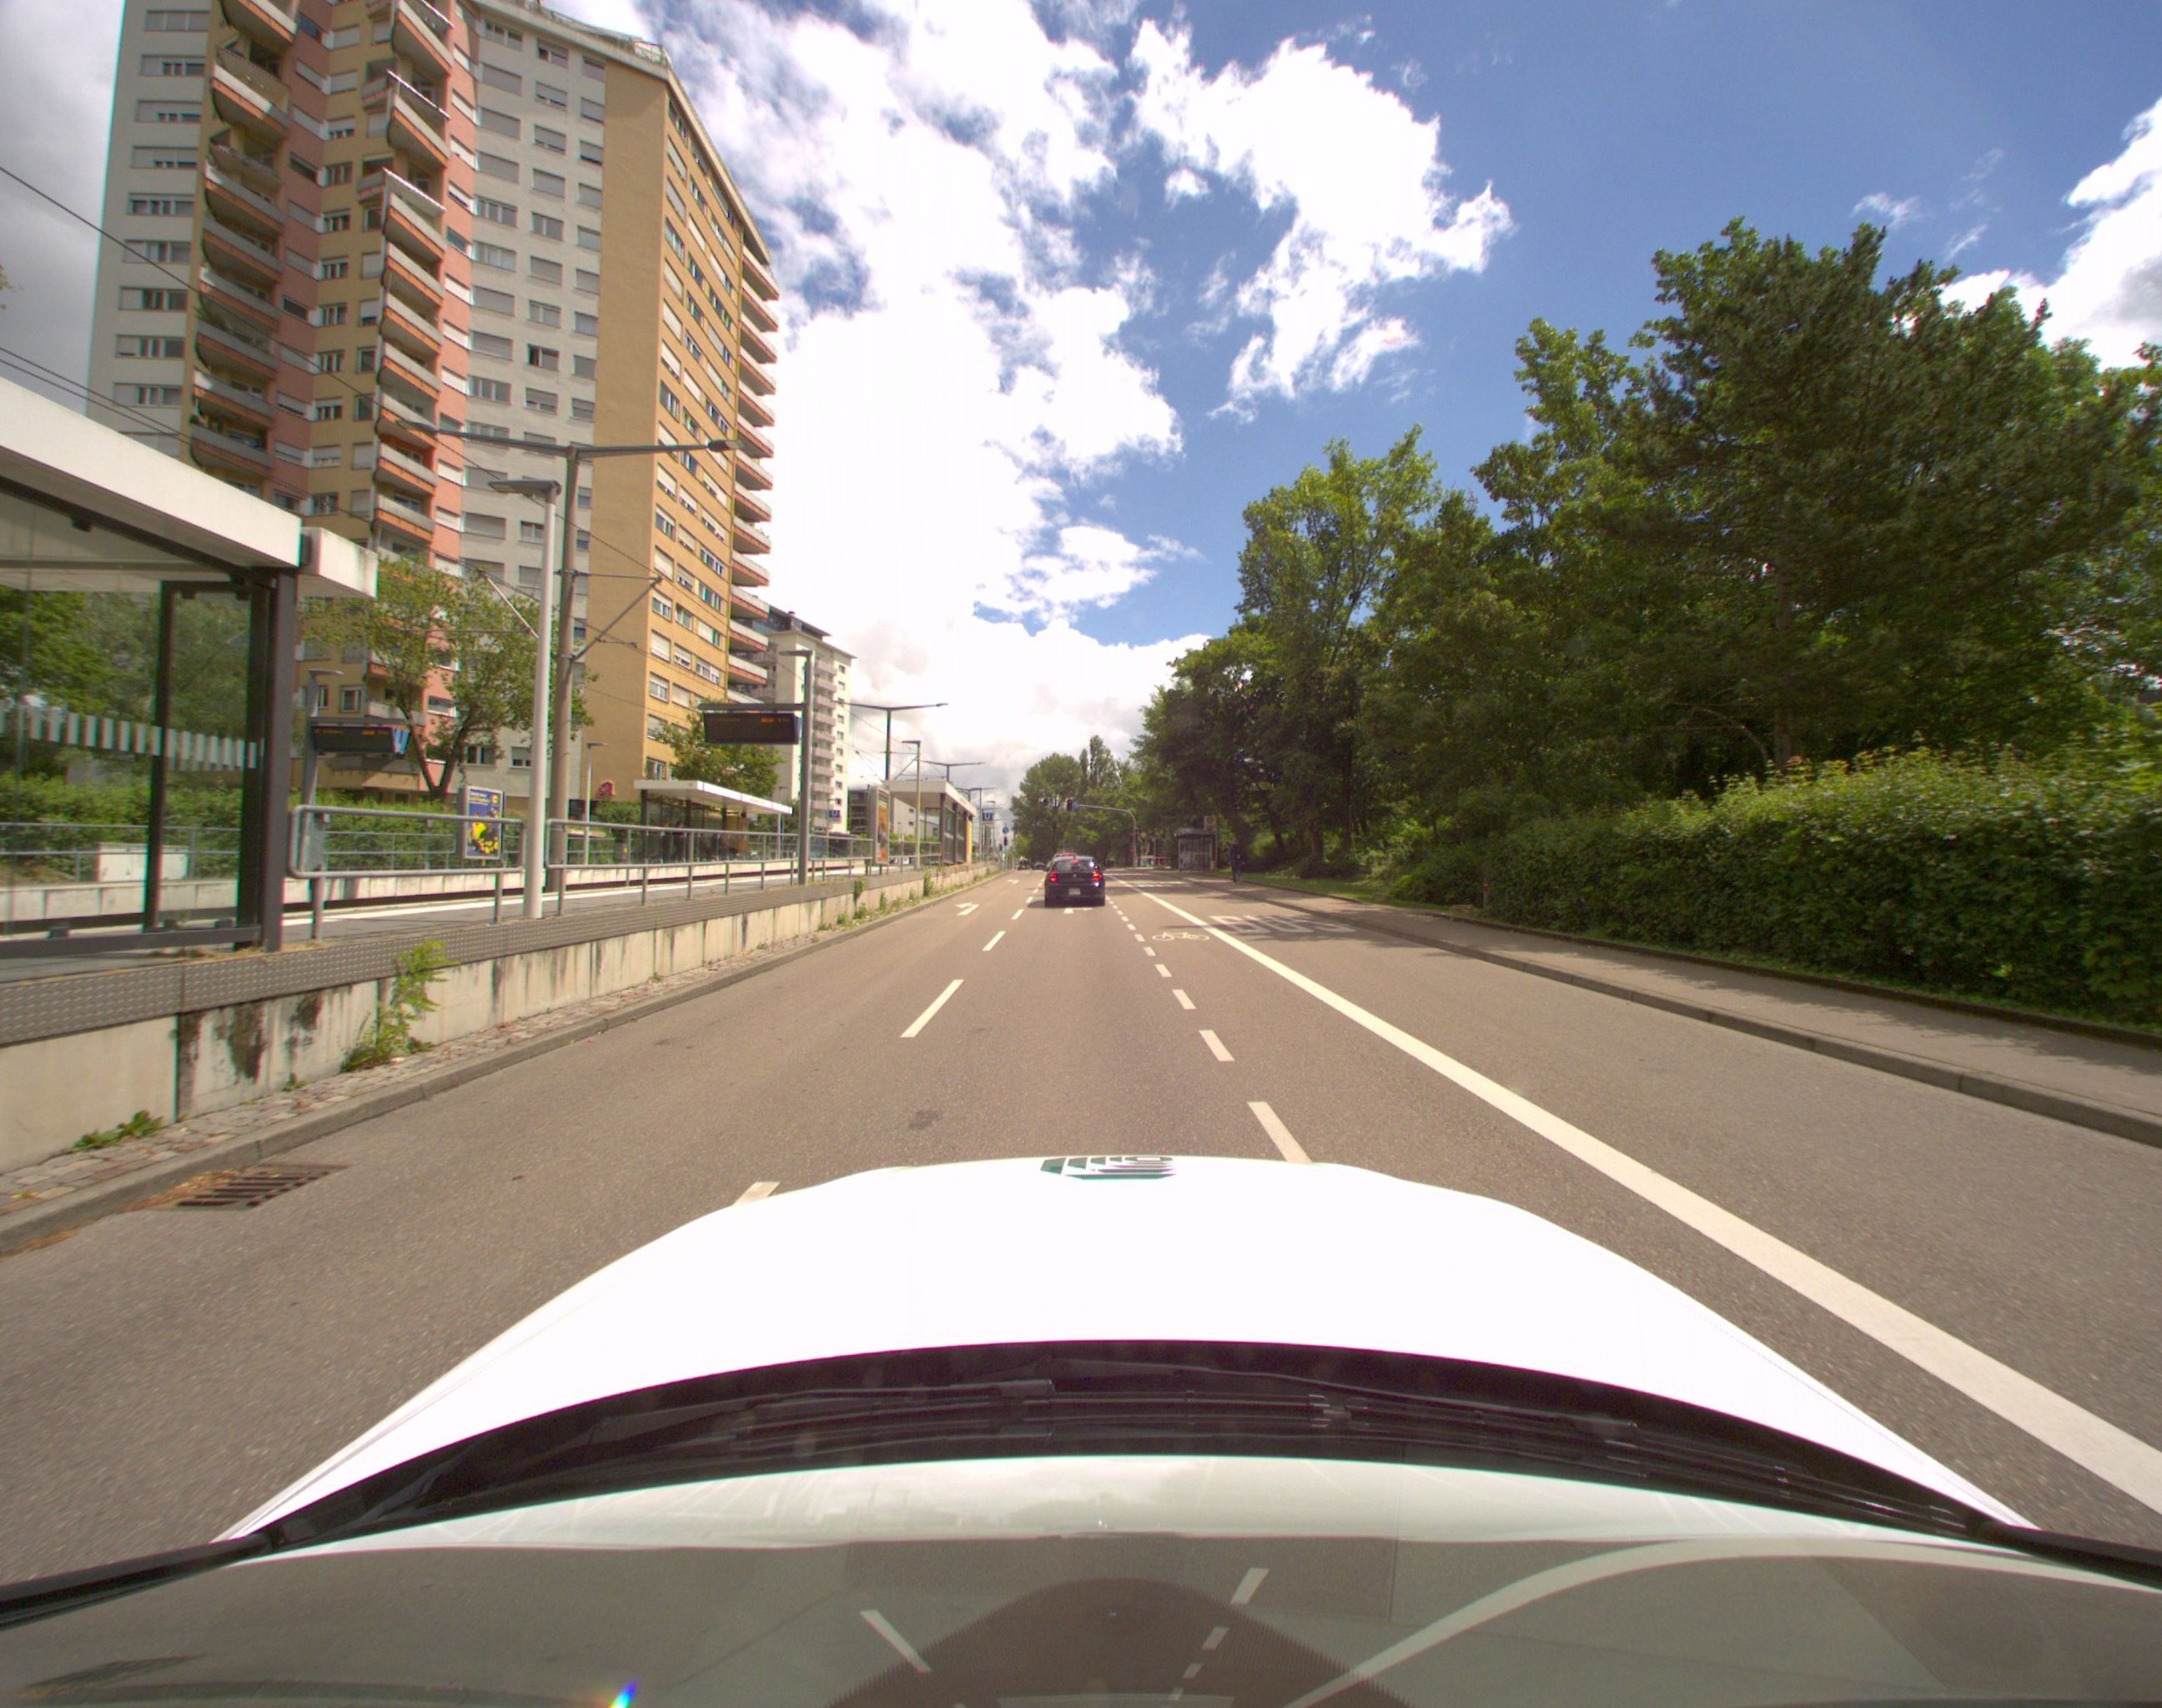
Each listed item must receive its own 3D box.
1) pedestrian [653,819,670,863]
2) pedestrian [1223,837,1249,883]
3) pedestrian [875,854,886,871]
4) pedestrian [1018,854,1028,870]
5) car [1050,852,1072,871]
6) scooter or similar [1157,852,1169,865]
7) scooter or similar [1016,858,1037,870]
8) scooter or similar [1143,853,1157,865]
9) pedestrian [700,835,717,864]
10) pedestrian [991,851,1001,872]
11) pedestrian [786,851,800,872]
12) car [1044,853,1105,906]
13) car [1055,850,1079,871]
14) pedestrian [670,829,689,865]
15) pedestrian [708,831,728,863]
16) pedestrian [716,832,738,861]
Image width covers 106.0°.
[{"bbox_3d":[-15.910,-0.489,30.885,0.523,1.644,0.558,-1,0,-34],"label":"pedestrian"},{"bbox_3d":[6.416,0.247,33.713,0.799,1.895,1.270,0,0,-1],"label":"pedestrian"},{"bbox_3d":[-16.296,0.707,66.144,0.692,1.342,0.852,0,0,-32],"label":"pedestrian"},{"bbox_3d":[-5.279,0.692,73.534,0.864,1.442,0.797,-1,0,-6],"label":"pedestrian"},{"bbox_3d":[-1.655,0.586,65.282,1.651,1.419,3.513,-1,0,-3],"label":"car"},{"bbox_3d":[7.978,0.466,79.075,1.108,1.258,0.330,-1,0,-14],"label":"scooter or similar"},{"bbox_3d":[-4.889,0.864,73.050,1.783,1.050,0.408,-1,0,-14],"label":"scooter or similar"},{"bbox_3d":[6.610,0.488,78.269,1.291,1.189,0.382,-1,0,-18],"label":"scooter or similar"},{"bbox_3d":[-15.707,-0.189,34.350,0.520,1.236,0.541,-1,0,-14],"label":"pedestrian"},{"bbox_3d":[-6.950,0.615,66.468,0.699,1.632,0.637,-1,0,-1],"label":"pedestrian"},{"bbox_3d":[-24.071,0.618,67.968,0.852,1.696,0.691,0,0,11],"label":"pedestrian"},{"bbox_3d":[-0.167,0.704,23.958,1.649,1.419,3.517,-1,0,0],"label":"car"},{"bbox_3d":[-0.985,0.439,57.730,1.590,1.419,3.515,-1,0,-1],"label":"car"},{"bbox_3d":[-15.666,-0.277,31.767,0.541,1.380,0.519,-1,-3,-10],"label":"pedestrian"},{"bbox_3d":[-15.763,-0.308,35.384,0.642,1.369,0.506,-1,0,-2],"label":"pedestrian"},{"bbox_3d":[-15.766,-0.327,36.269,0.740,1.236,0.517,-1,0,-2],"label":"pedestrian"}]
